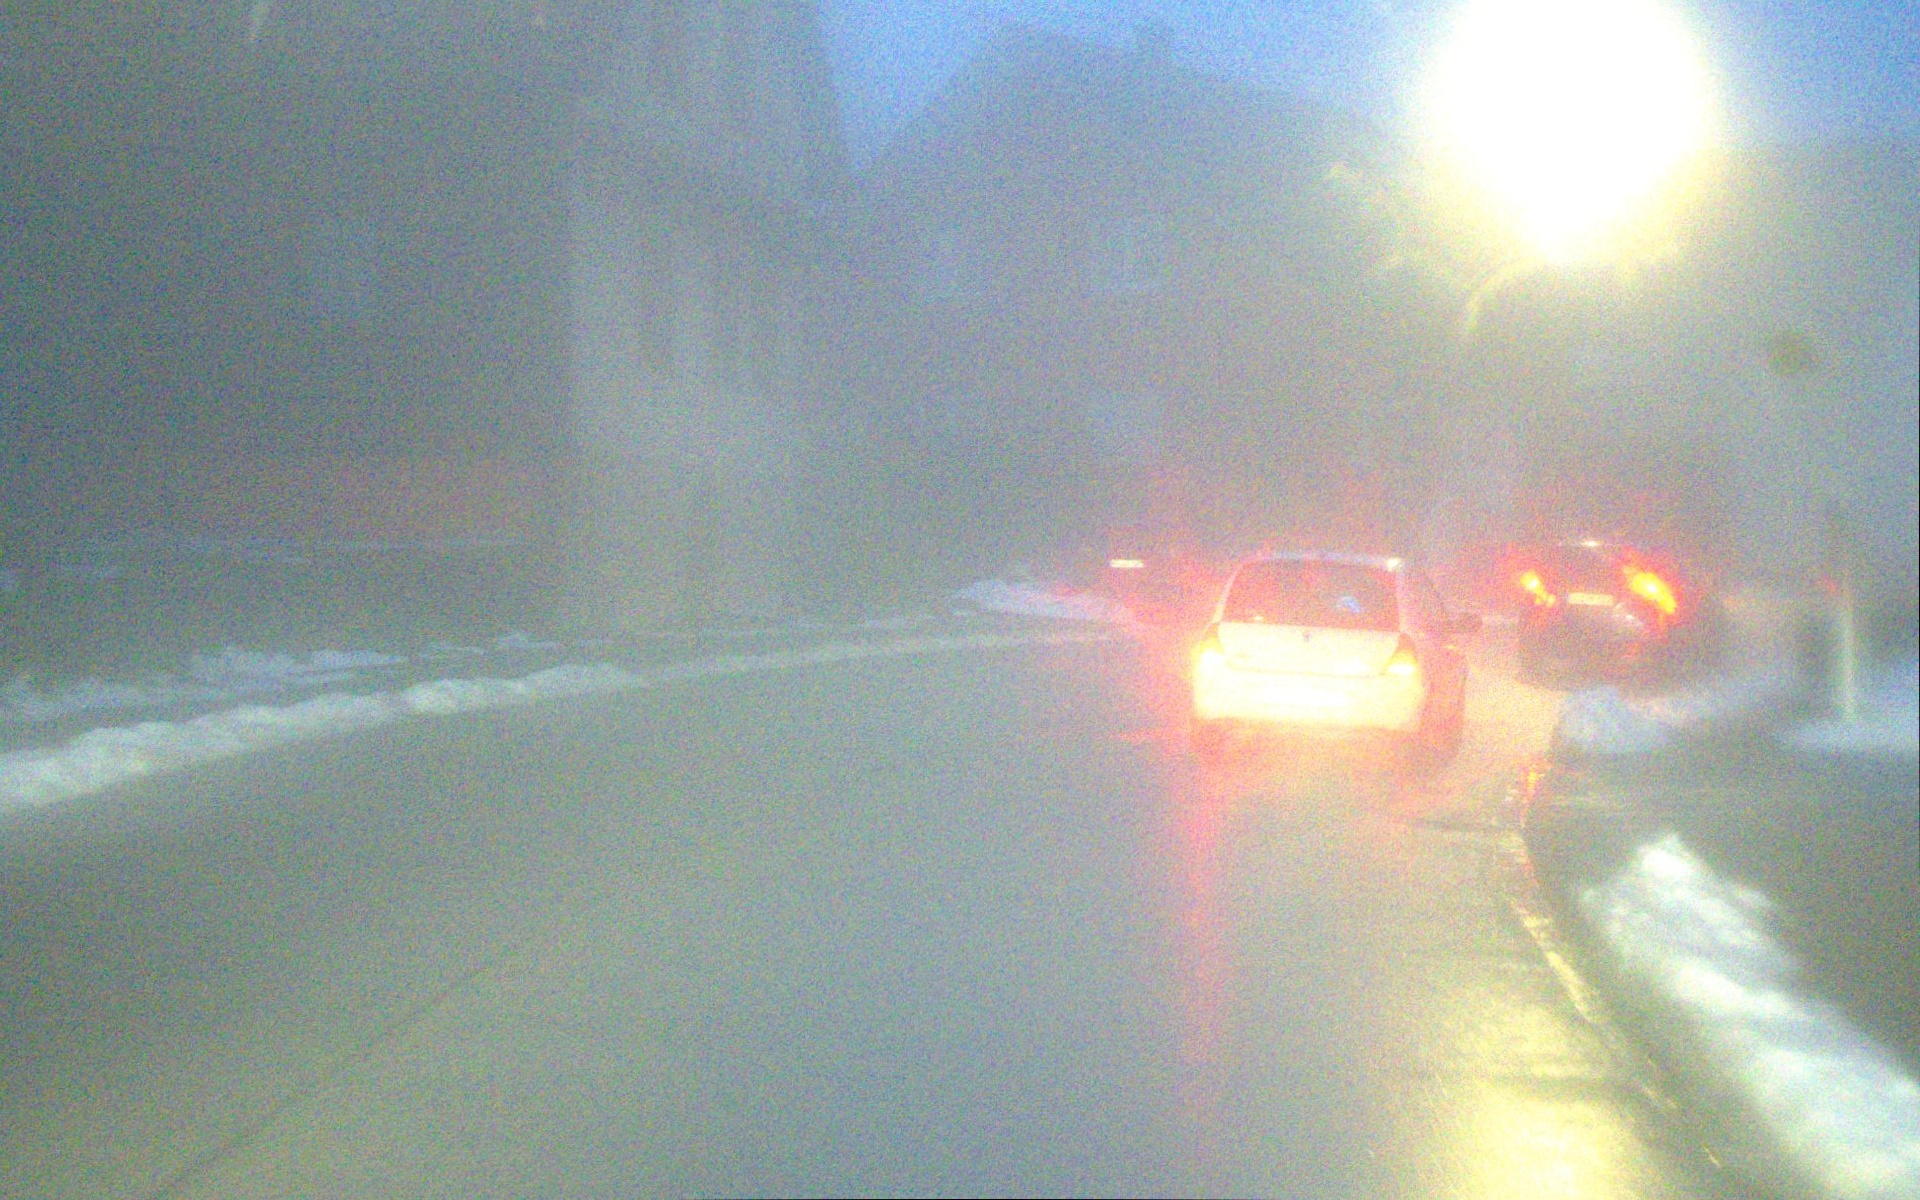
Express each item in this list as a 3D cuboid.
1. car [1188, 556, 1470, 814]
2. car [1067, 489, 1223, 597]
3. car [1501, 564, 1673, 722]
[{"bbox_3d":[2.521,0.528,24.210,1.645,1.590,3.699,2,1,2],"label":"car"},{"bbox_3d":[2.877,-0.860,52.677,1.874,1.499,3.998,3,1,10],"label":"car"},{"bbox_3d":[6.981,0.436,38.054,1.646,1.590,3.697,3,1,13],"label":"car"}]
